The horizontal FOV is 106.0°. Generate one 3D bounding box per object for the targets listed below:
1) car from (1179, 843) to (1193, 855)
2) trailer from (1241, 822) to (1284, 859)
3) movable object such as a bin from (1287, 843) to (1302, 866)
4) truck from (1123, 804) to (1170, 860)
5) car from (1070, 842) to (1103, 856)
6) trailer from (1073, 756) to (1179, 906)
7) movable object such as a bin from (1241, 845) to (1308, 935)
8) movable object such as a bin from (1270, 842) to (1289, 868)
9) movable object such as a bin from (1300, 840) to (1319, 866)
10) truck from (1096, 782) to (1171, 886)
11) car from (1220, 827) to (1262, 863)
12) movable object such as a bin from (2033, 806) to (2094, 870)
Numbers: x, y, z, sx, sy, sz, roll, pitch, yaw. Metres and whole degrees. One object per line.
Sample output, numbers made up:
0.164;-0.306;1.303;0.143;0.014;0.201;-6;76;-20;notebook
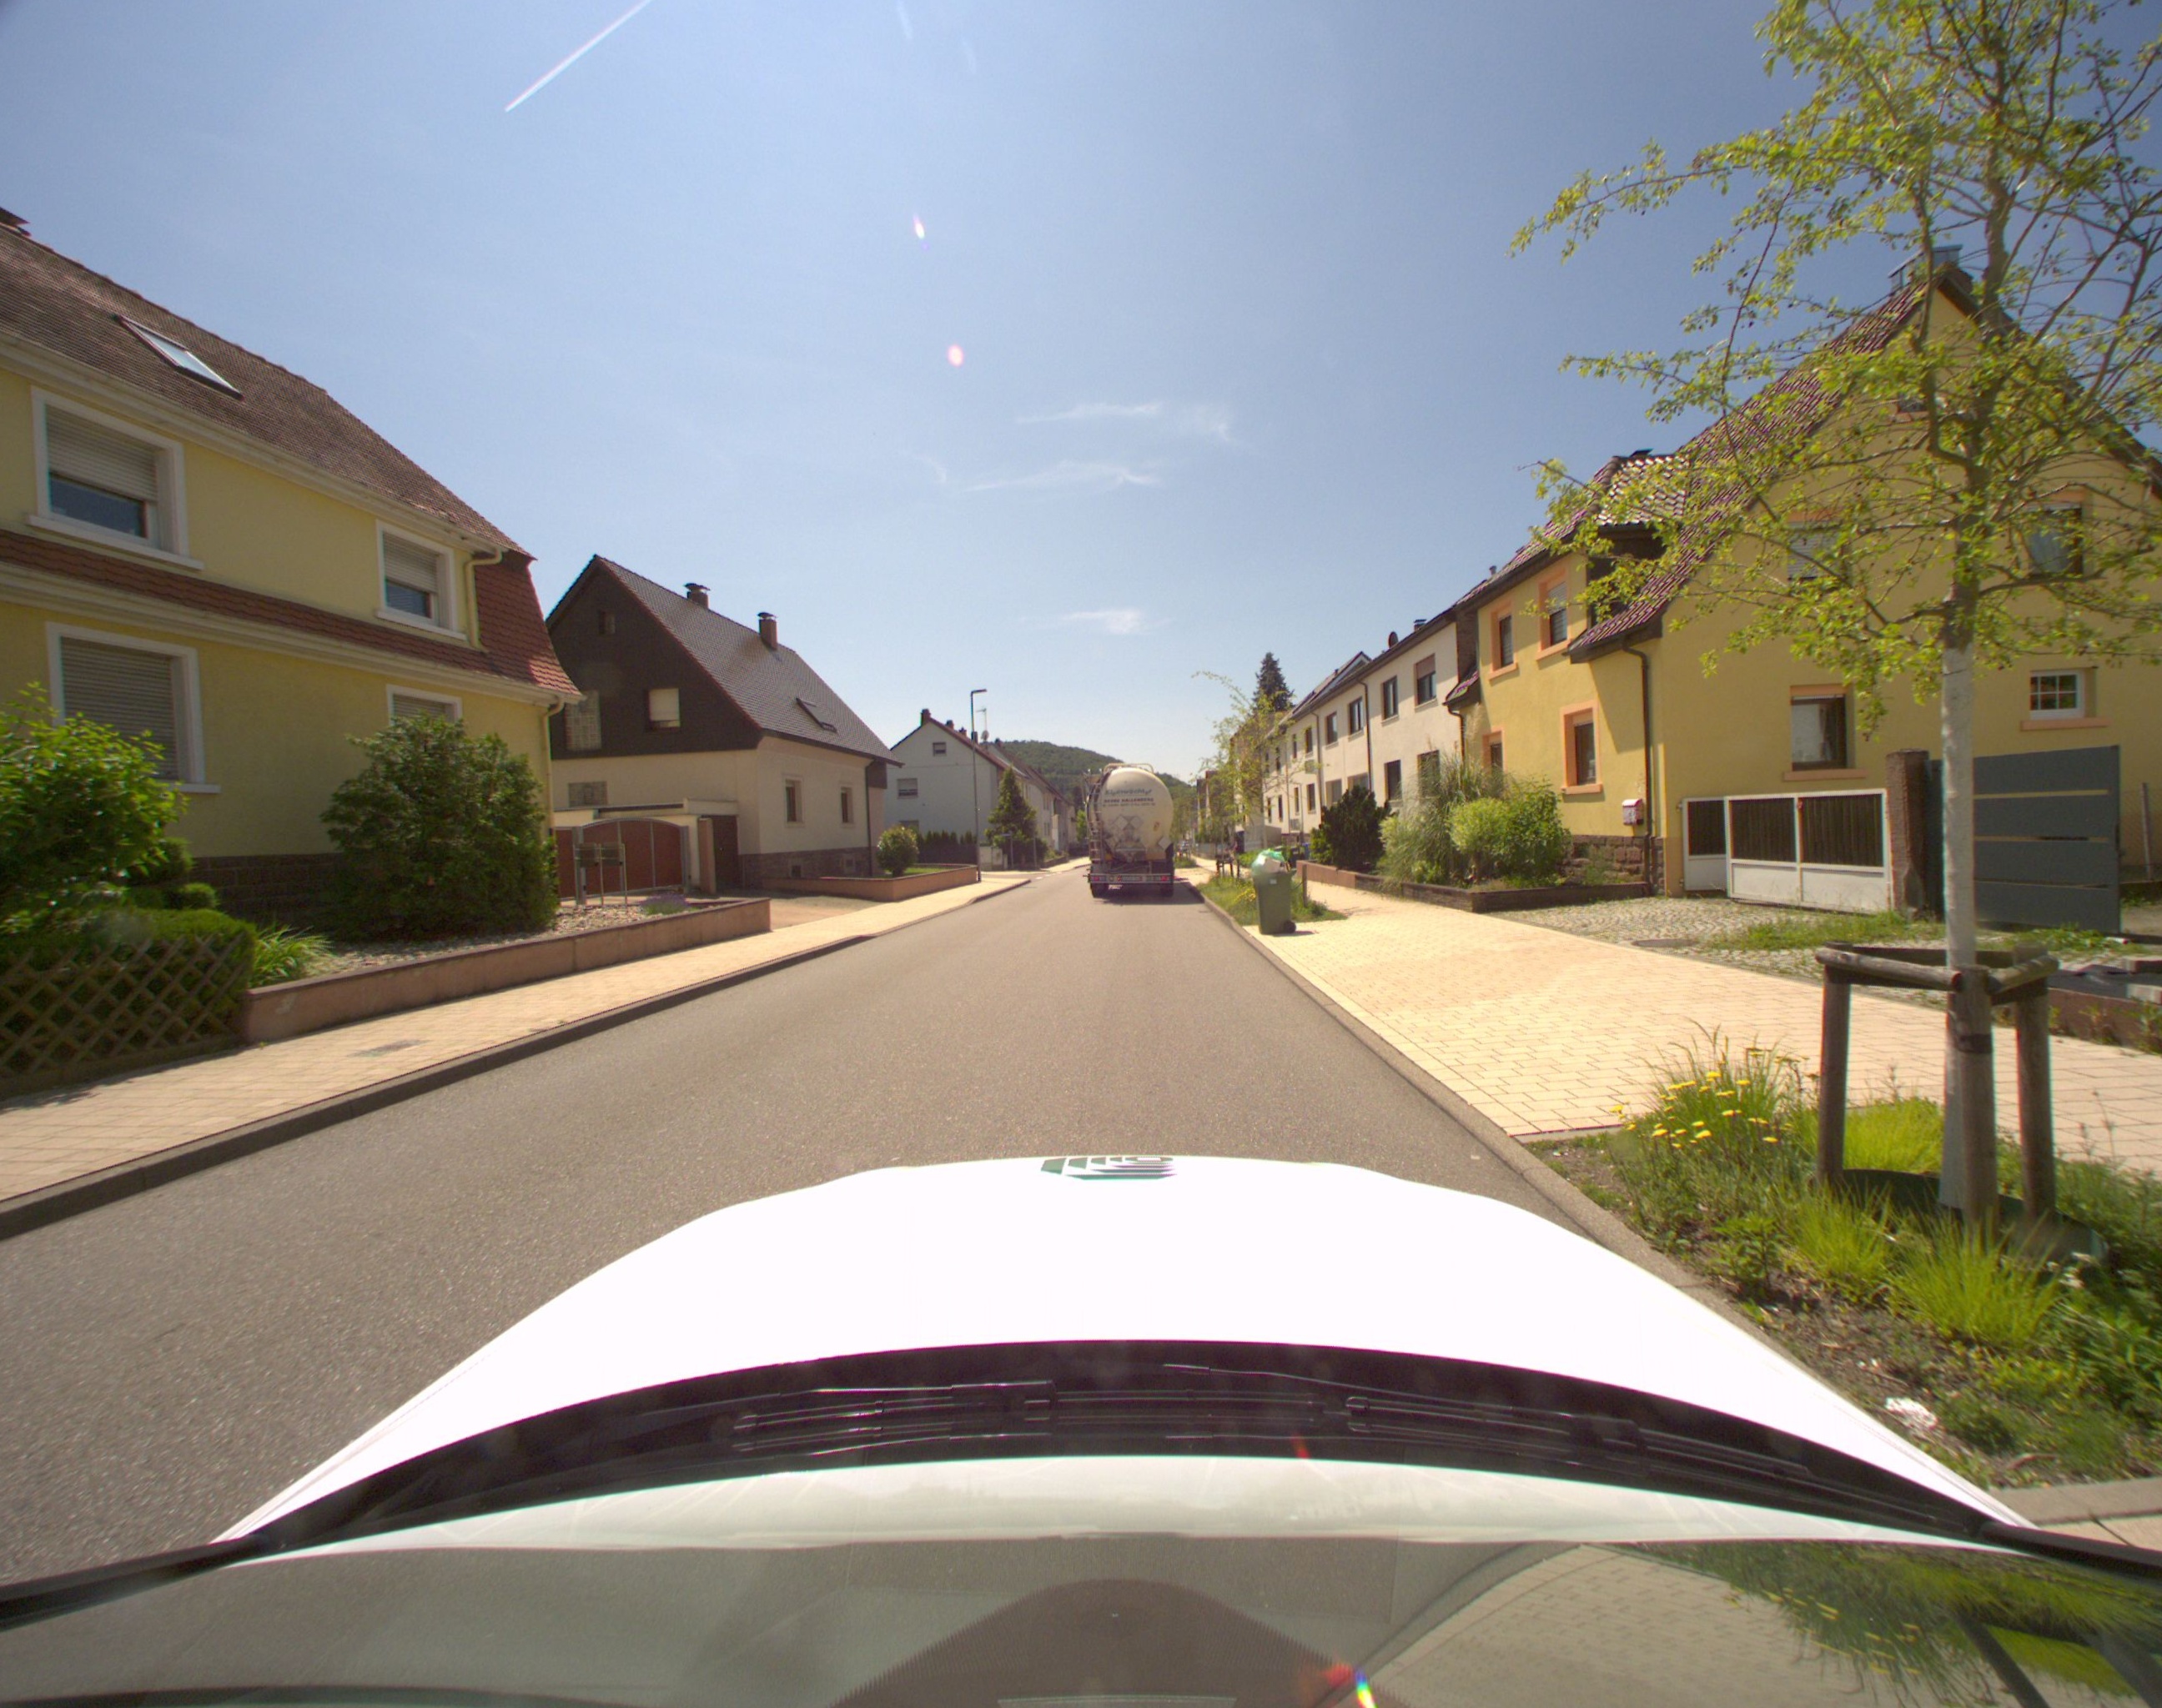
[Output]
15.499;-0.750;120.049;1.782;1.541;4.527;-5;0;6;car
10.424;-0.781;46.732;2.286;2.013;1.308;-2;0;-44;trailer
9.842;0.026;37.557;0.554;0.986;0.805;-7;-1;11;movable object such as a bin
6.282;-2.060;79.417;3.895;4.895;9.801;-3;0;2;truck
0.793;-0.677;110.444;4.376;1.750;1.880;-2;1;3;car
1.648;-0.703;27.272;2.783;4.000;10.338;-1;1;5;trailer
3.240;0.579;13.714;0.789;1.395;0.925;-6;0;1;movable object such as a bin
9.148;0.051;37.490;0.680;1.115;0.814;-6;-1;10;movable object such as a bin
10.511;-0.043;37.441;0.681;1.106;0.865;-6;0;10;movable object such as a bin
2.243;-0.801;34.030;2.795;3.936;6.108;-1;1;5;truck
10.092;-0.582;51.685;1.844;1.970;4.779;-8;0;4;car
15.354;-0.254;12.734;0.398;0.963;0.453;-3;2;3;movable object such as a bin
